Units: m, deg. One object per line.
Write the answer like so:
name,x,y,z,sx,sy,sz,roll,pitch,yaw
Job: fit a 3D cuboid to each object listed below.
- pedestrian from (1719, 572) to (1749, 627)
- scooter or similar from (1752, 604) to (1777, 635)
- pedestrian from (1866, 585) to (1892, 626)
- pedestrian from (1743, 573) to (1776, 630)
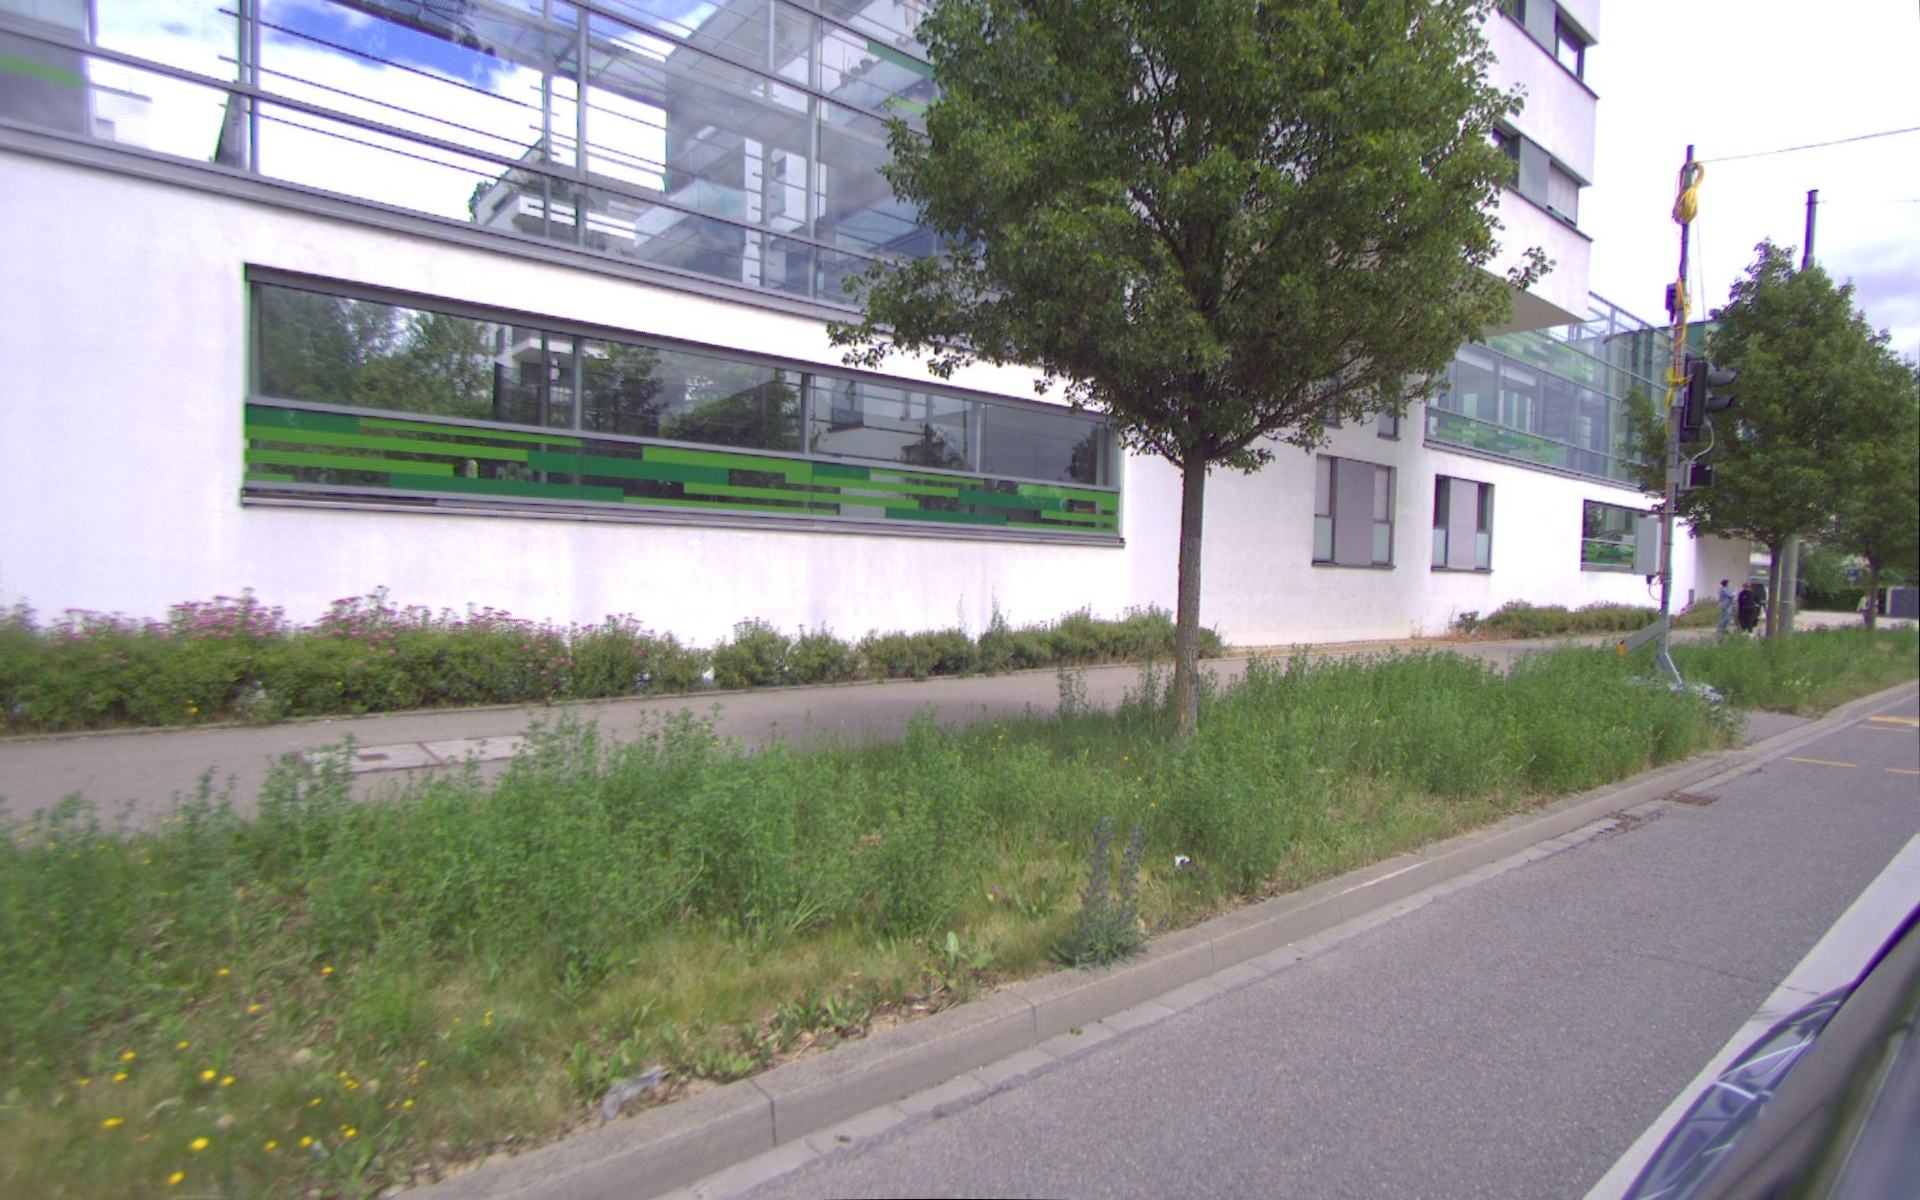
pedestrian,23.994,-0.013,31.386,0.596,1.675,0.551,0,3,-40
scooter or similar,24.488,0.581,30.800,0.670,0.916,0.422,0,3,-40
pedestrian,36.450,0.221,40.132,0.853,1.570,0.582,0,3,-40
pedestrian,24.112,0.034,30.540,0.542,1.675,0.606,0,3,-40
